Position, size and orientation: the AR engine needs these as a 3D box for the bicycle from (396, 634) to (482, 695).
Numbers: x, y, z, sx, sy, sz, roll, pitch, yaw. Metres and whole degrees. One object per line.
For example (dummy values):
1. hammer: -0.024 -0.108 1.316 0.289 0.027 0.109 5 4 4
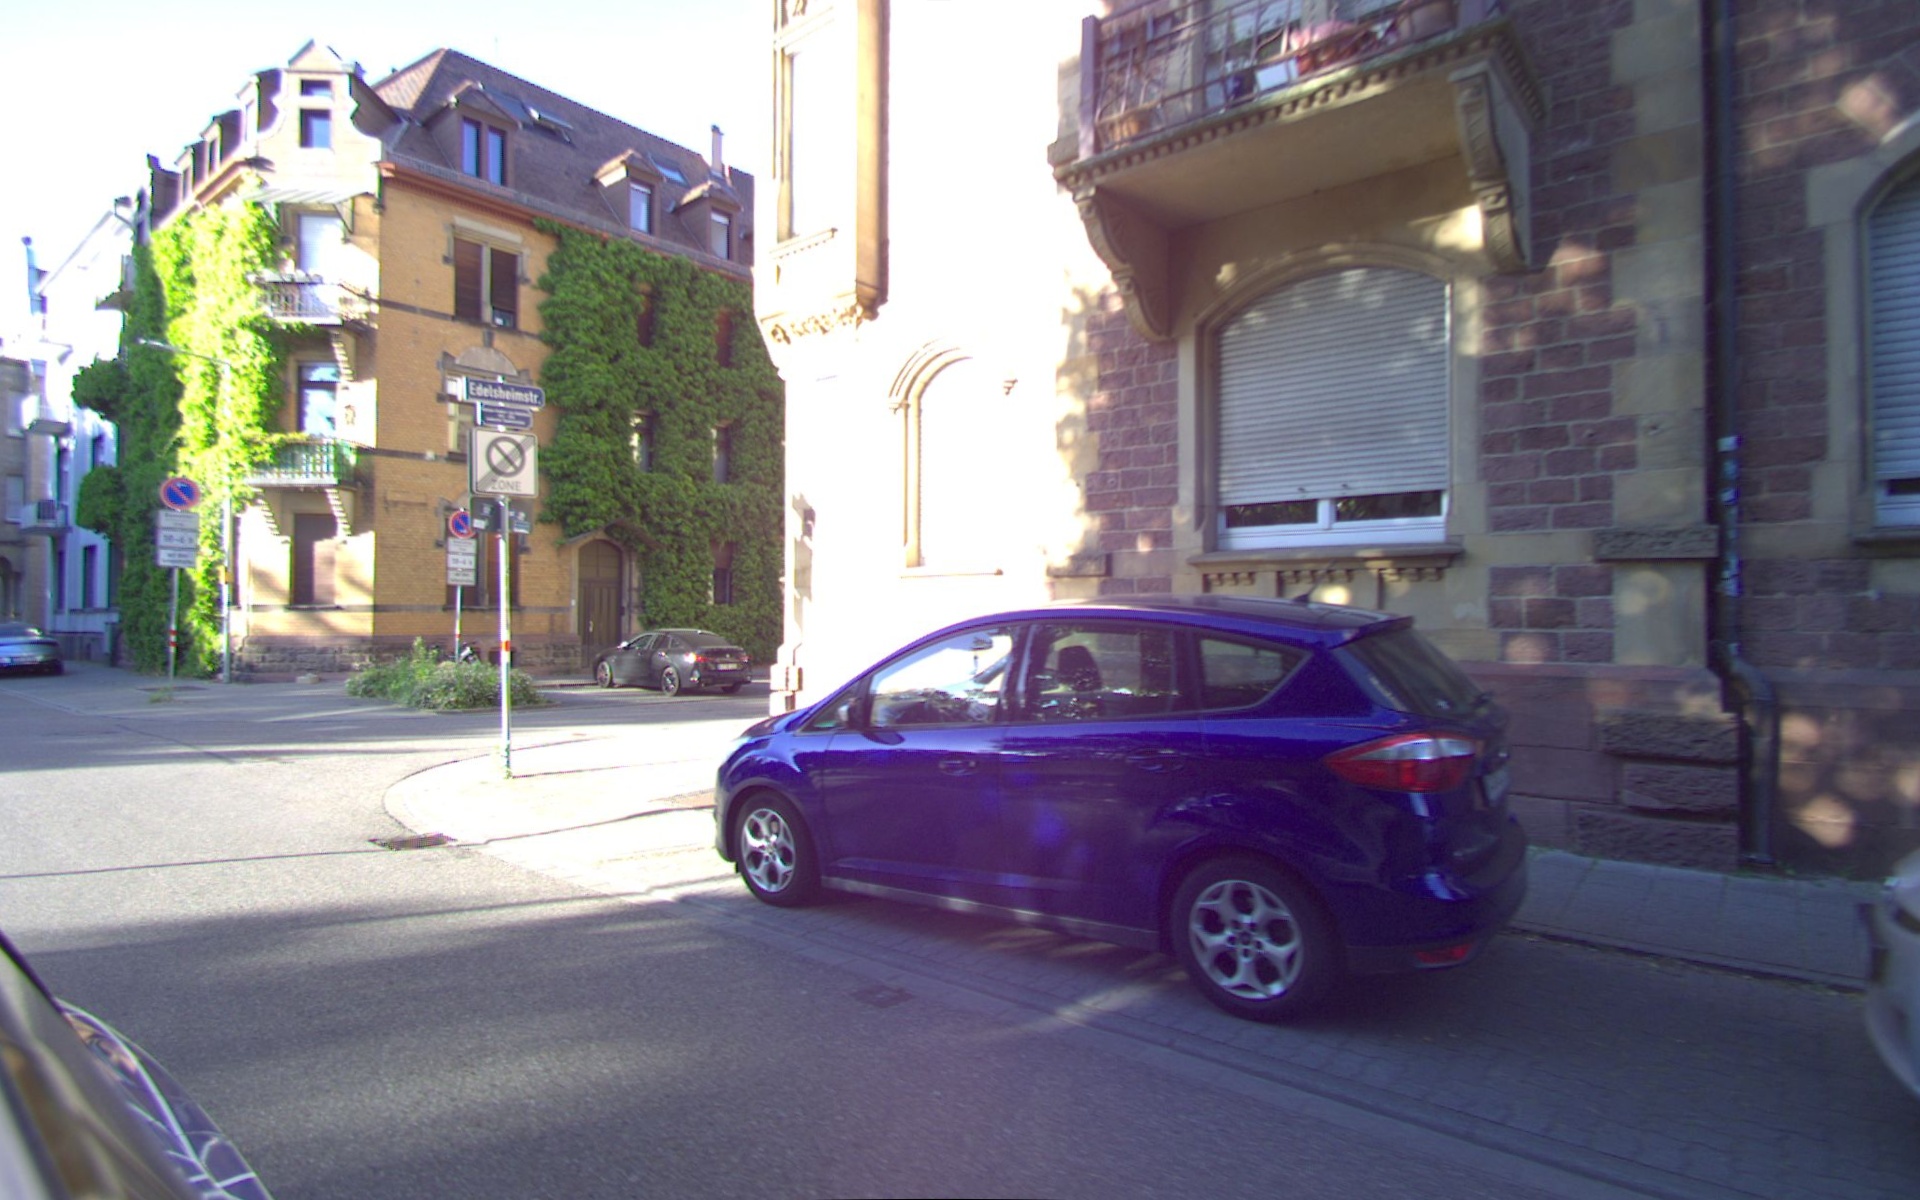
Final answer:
1. bicycle: -11.292 1.377 21.956 1.578 1.278 0.565 1 -2 -41

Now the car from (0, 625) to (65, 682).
1. car: -26.301 1.432 27.774 4.920 1.415 1.858 -1 0 39

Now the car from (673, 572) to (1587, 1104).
1. car: 0.570 0.771 5.112 4.252 1.634 1.713 -1 -1 38

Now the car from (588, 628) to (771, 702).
1. car: -6.470 1.413 23.121 4.254 1.446 1.973 0 -1 40

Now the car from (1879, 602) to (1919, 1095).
1. car: 4.593 0.724 1.621 4.448 1.510 1.713 -1 -1 38
